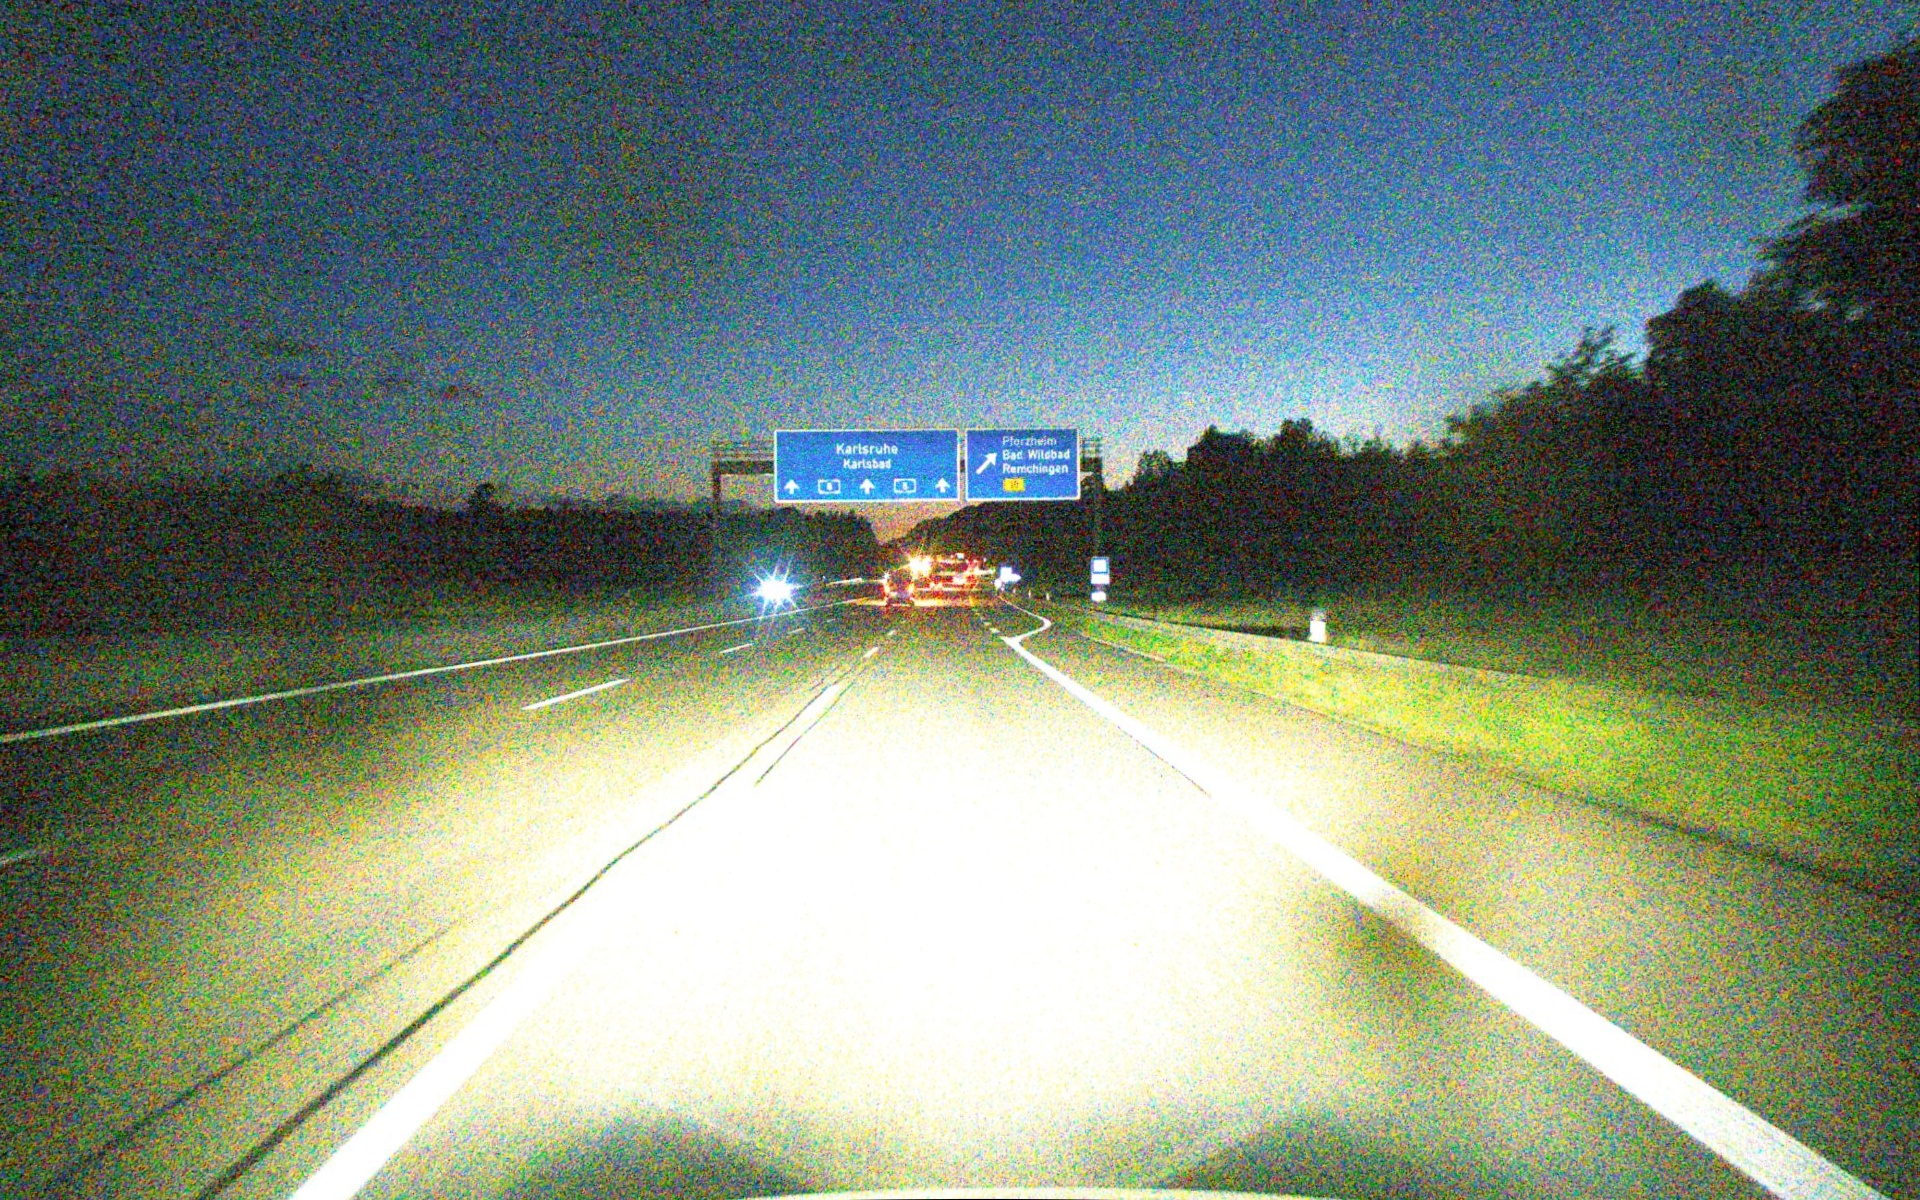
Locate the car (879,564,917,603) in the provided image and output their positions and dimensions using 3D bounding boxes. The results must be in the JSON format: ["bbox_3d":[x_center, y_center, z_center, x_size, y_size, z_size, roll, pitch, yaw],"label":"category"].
[{"bbox_3d":[-4.666,-1.220,123.543,2.731,2.781,6.295,0,0,-3],"label":"car"}]

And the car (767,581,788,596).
[{"bbox_3d":[-22.525,-1.467,204.059,1.953,1.776,5.071,1,1,0],"label":"car"}]

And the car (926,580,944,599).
[{"bbox_3d":[-3.932,-1.646,259.396,2.730,2.781,6.298,0,0,-1],"label":"car"}]
